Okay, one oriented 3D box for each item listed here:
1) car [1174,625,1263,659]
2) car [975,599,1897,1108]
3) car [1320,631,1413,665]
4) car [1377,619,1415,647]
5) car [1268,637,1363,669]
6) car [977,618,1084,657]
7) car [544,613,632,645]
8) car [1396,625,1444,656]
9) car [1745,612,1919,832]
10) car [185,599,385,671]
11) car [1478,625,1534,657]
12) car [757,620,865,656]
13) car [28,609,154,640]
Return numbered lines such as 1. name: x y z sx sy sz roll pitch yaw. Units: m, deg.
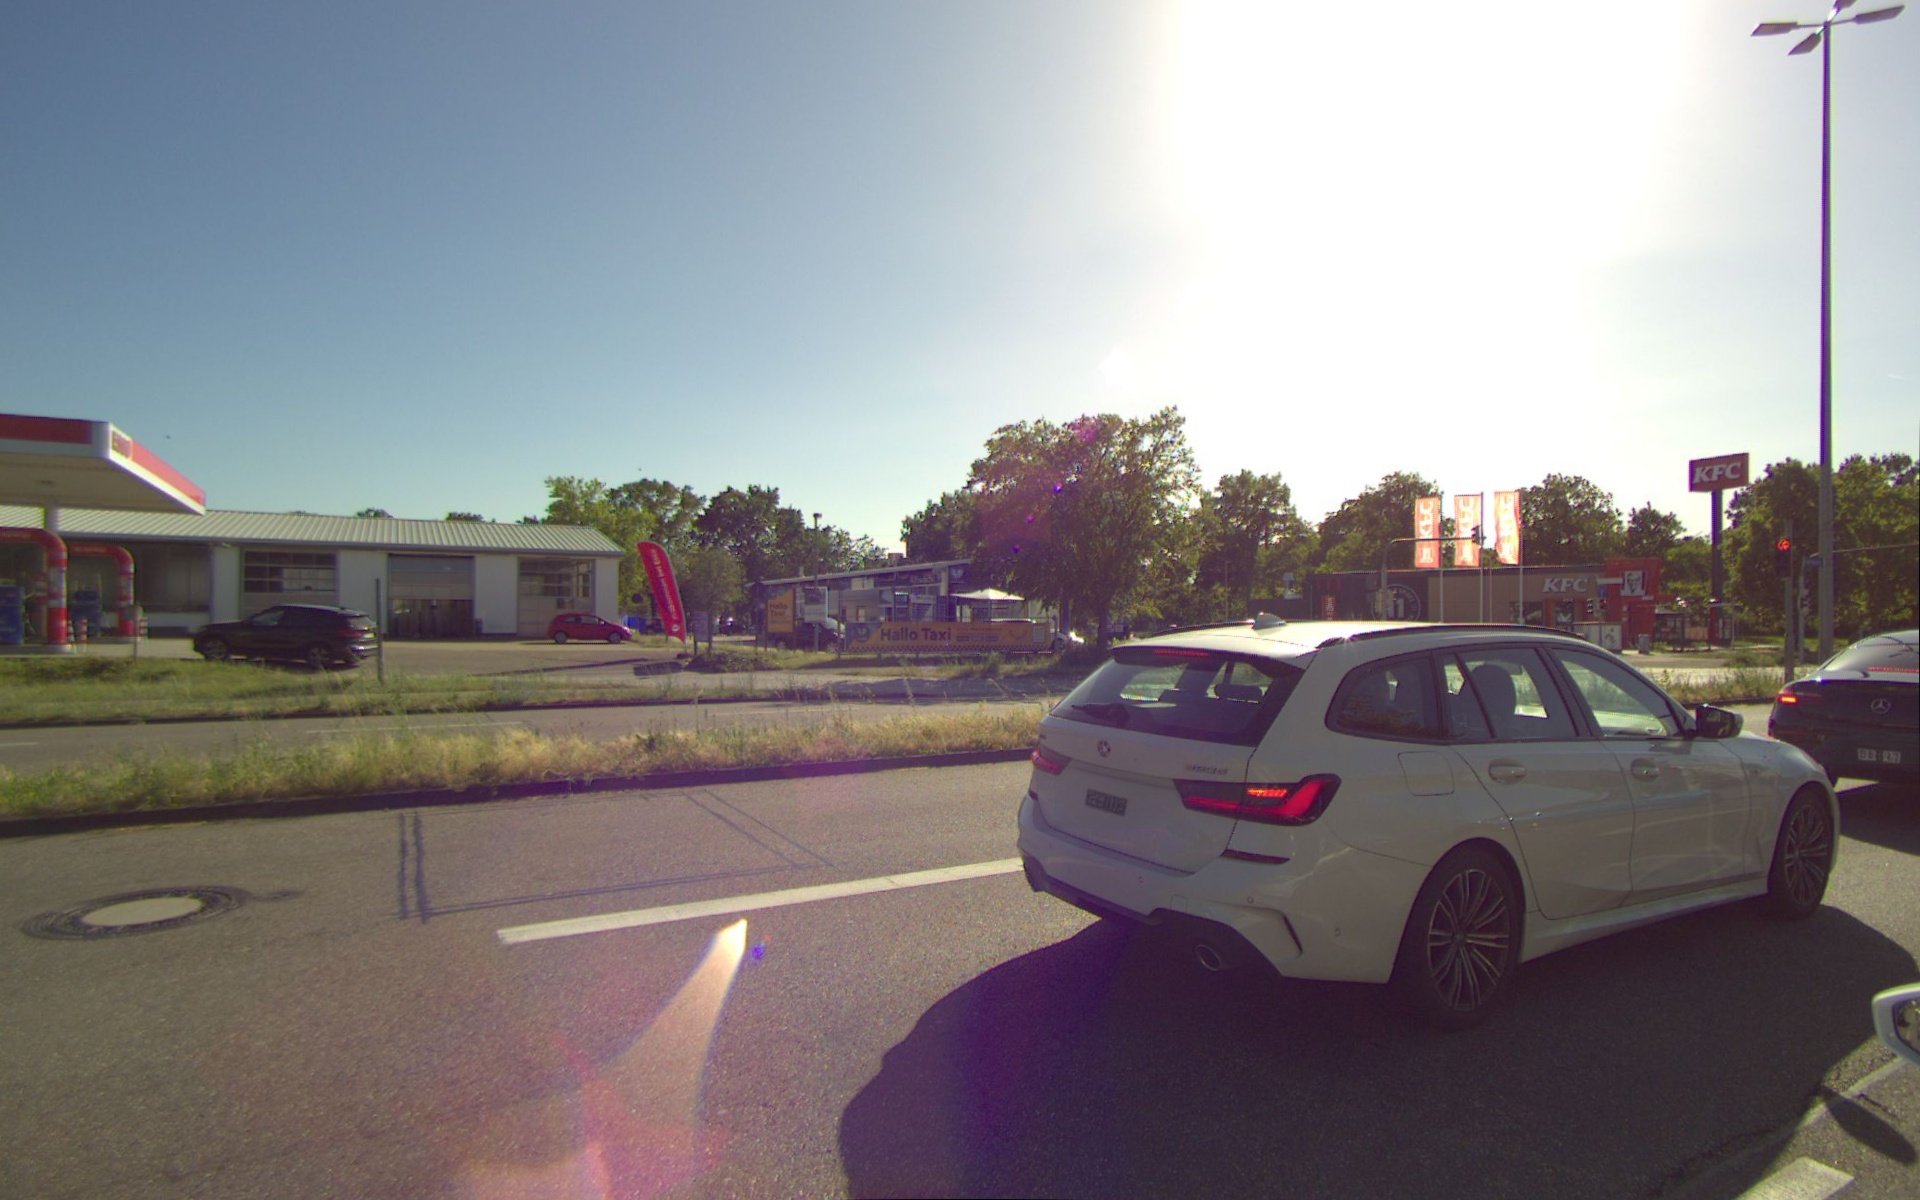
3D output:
1. car: 13.951 2.267 54.442 1.914 1.600 4.599 2 0 -31
2. car: 2.480 0.793 4.899 4.541 1.506 1.804 1 -1 -30
3. car: 20.111 2.358 49.876 1.913 1.472 3.936 2 0 -29
4. car: 31.206 2.337 71.964 1.960 1.837 3.774 2 0 16
5. car: 17.018 2.509 48.224 1.850 1.268 4.062 2 0 -31
6. car: 2.901 1.556 41.476 3.943 1.461 1.989 2 0 -23
7. car: -18.278 1.428 49.334 3.949 1.491 1.521 2 0 -24
8. car: 28.051 2.438 61.385 1.896 1.763 4.099 2 0 14
9. car: 8.788 0.931 8.580 4.491 1.572 1.803 1 0 -31
10. car: -18.357 0.931 27.448 4.236 1.749 1.809 2 0 2
11. car: 32.691 2.410 60.235 1.896 1.763 4.099 2 0 14
12. car: -5.801 1.453 39.059 3.930 1.193 1.774 2 0 31
13. car: -36.353 1.022 42.126 3.688 1.203 1.667 2 0 -30
